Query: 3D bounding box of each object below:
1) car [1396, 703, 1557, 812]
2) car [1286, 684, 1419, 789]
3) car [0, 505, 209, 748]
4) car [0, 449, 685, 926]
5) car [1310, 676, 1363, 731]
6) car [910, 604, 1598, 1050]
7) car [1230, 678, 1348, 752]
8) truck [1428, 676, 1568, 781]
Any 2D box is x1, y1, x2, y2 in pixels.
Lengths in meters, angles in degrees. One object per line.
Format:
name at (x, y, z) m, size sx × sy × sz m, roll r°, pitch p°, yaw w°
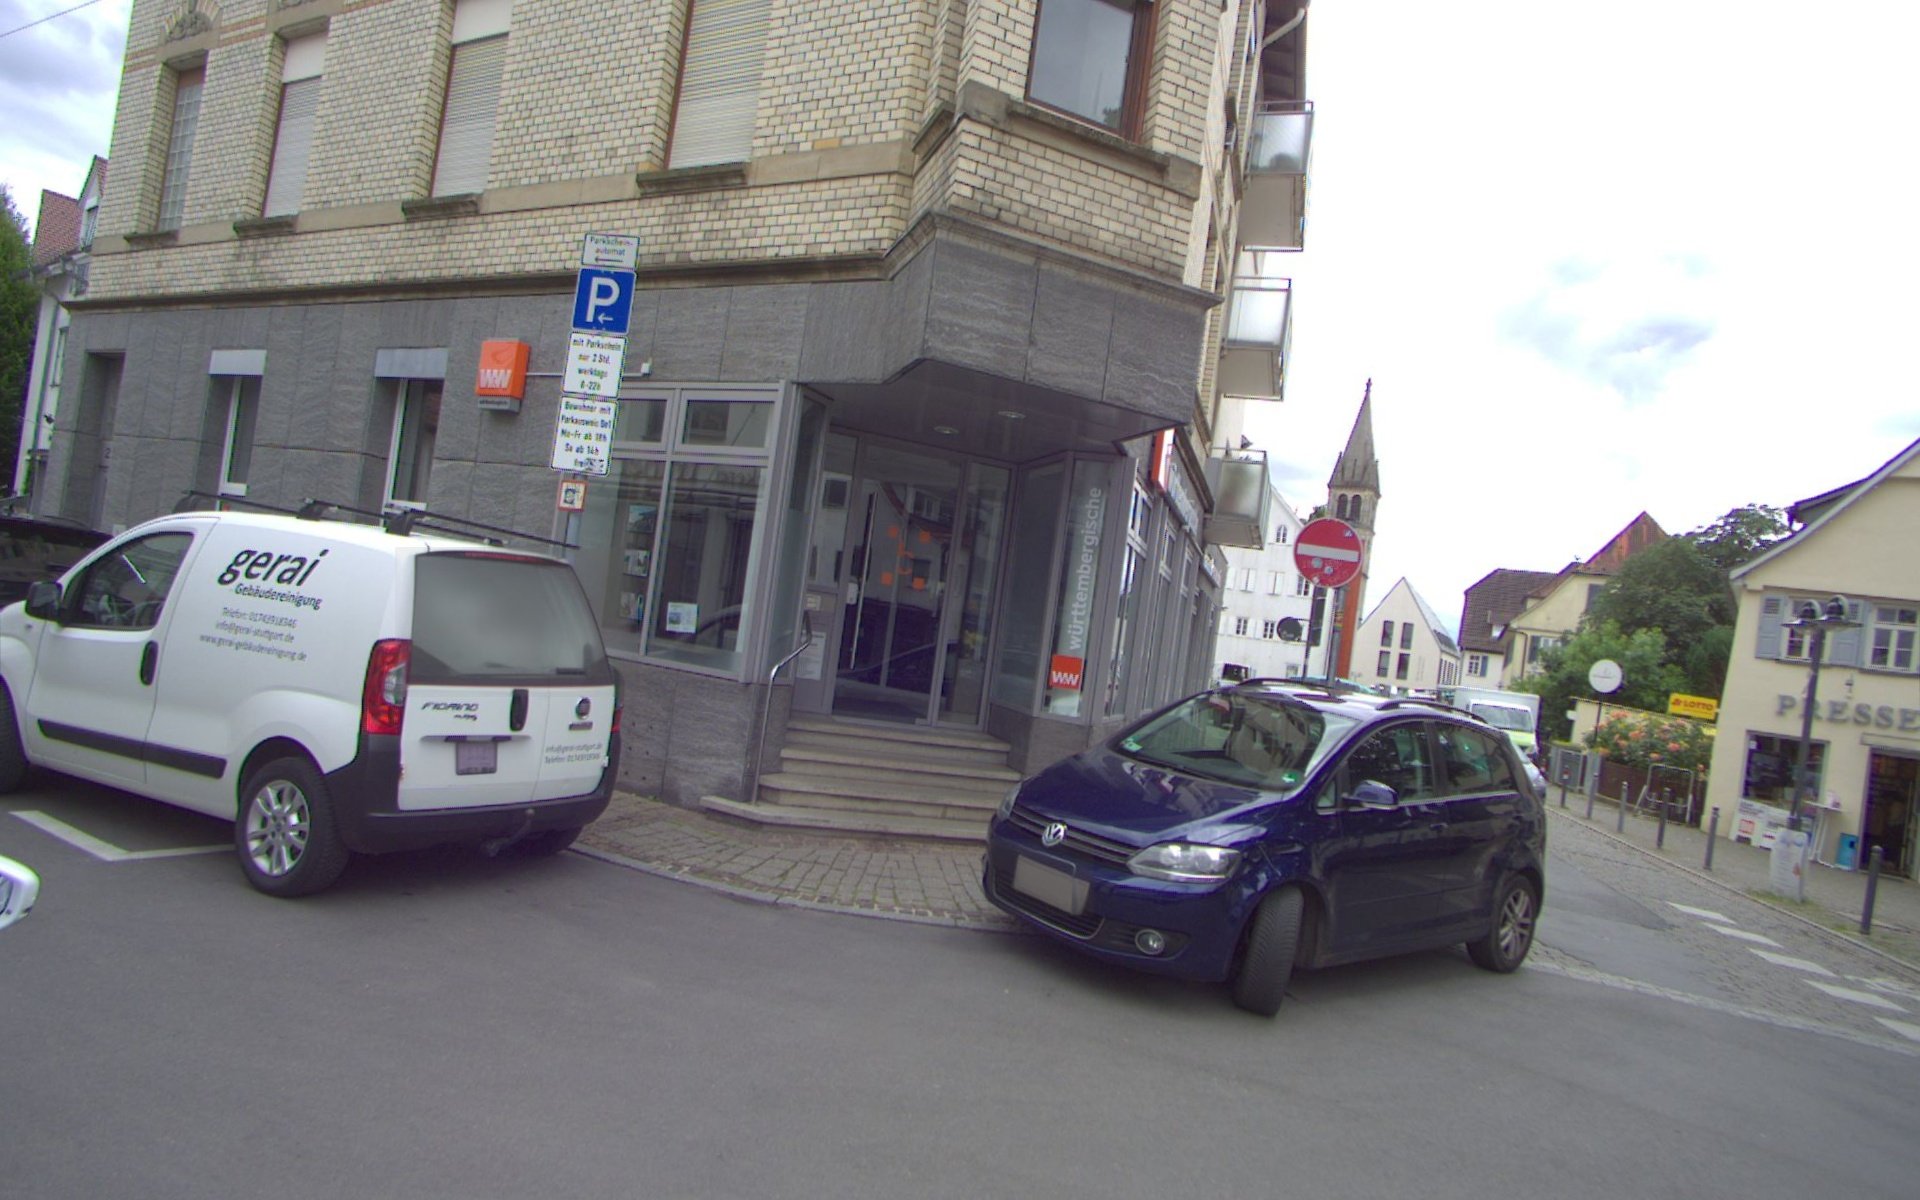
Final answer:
car at (10.399, 3.111, 20.593) m, size 1.749 × 1.533 × 4.012 m, roll 9°, pitch -1°, yaw 12°
car at (7.845, 2.712, 20.522) m, size 2.084 × 1.563 × 4.391 m, roll 8°, pitch -3°, yaw 19°
car at (-8.308, -0.018, 7.885) m, size 4.460 × 1.618 × 1.795 m, roll 7°, pitch -3°, yaw 24°
car at (-3.966, 0.301, 5.836) m, size 4.141 × 1.812 × 1.833 m, roll 7°, pitch -2°, yaw 23°
car at (18.323, 5.002, 49.066) m, size 2.038 × 2.236 × 4.003 m, roll 8°, pitch -1°, yaw 20°
car at (1.935, 1.195, 6.003) m, size 3.993 × 1.722 × 1.844 m, roll 10°, pitch -4°, yaw -38°
car at (9.719, 3.367, 30.105) m, size 2.215 × 1.528 × 4.527 m, roll 9°, pitch -1°, yaw 6°
truck at (17.394, 4.091, 32.897) m, size 2.789 × 2.721 × 5.302 m, roll 8°, pitch -2°, yaw 18°
